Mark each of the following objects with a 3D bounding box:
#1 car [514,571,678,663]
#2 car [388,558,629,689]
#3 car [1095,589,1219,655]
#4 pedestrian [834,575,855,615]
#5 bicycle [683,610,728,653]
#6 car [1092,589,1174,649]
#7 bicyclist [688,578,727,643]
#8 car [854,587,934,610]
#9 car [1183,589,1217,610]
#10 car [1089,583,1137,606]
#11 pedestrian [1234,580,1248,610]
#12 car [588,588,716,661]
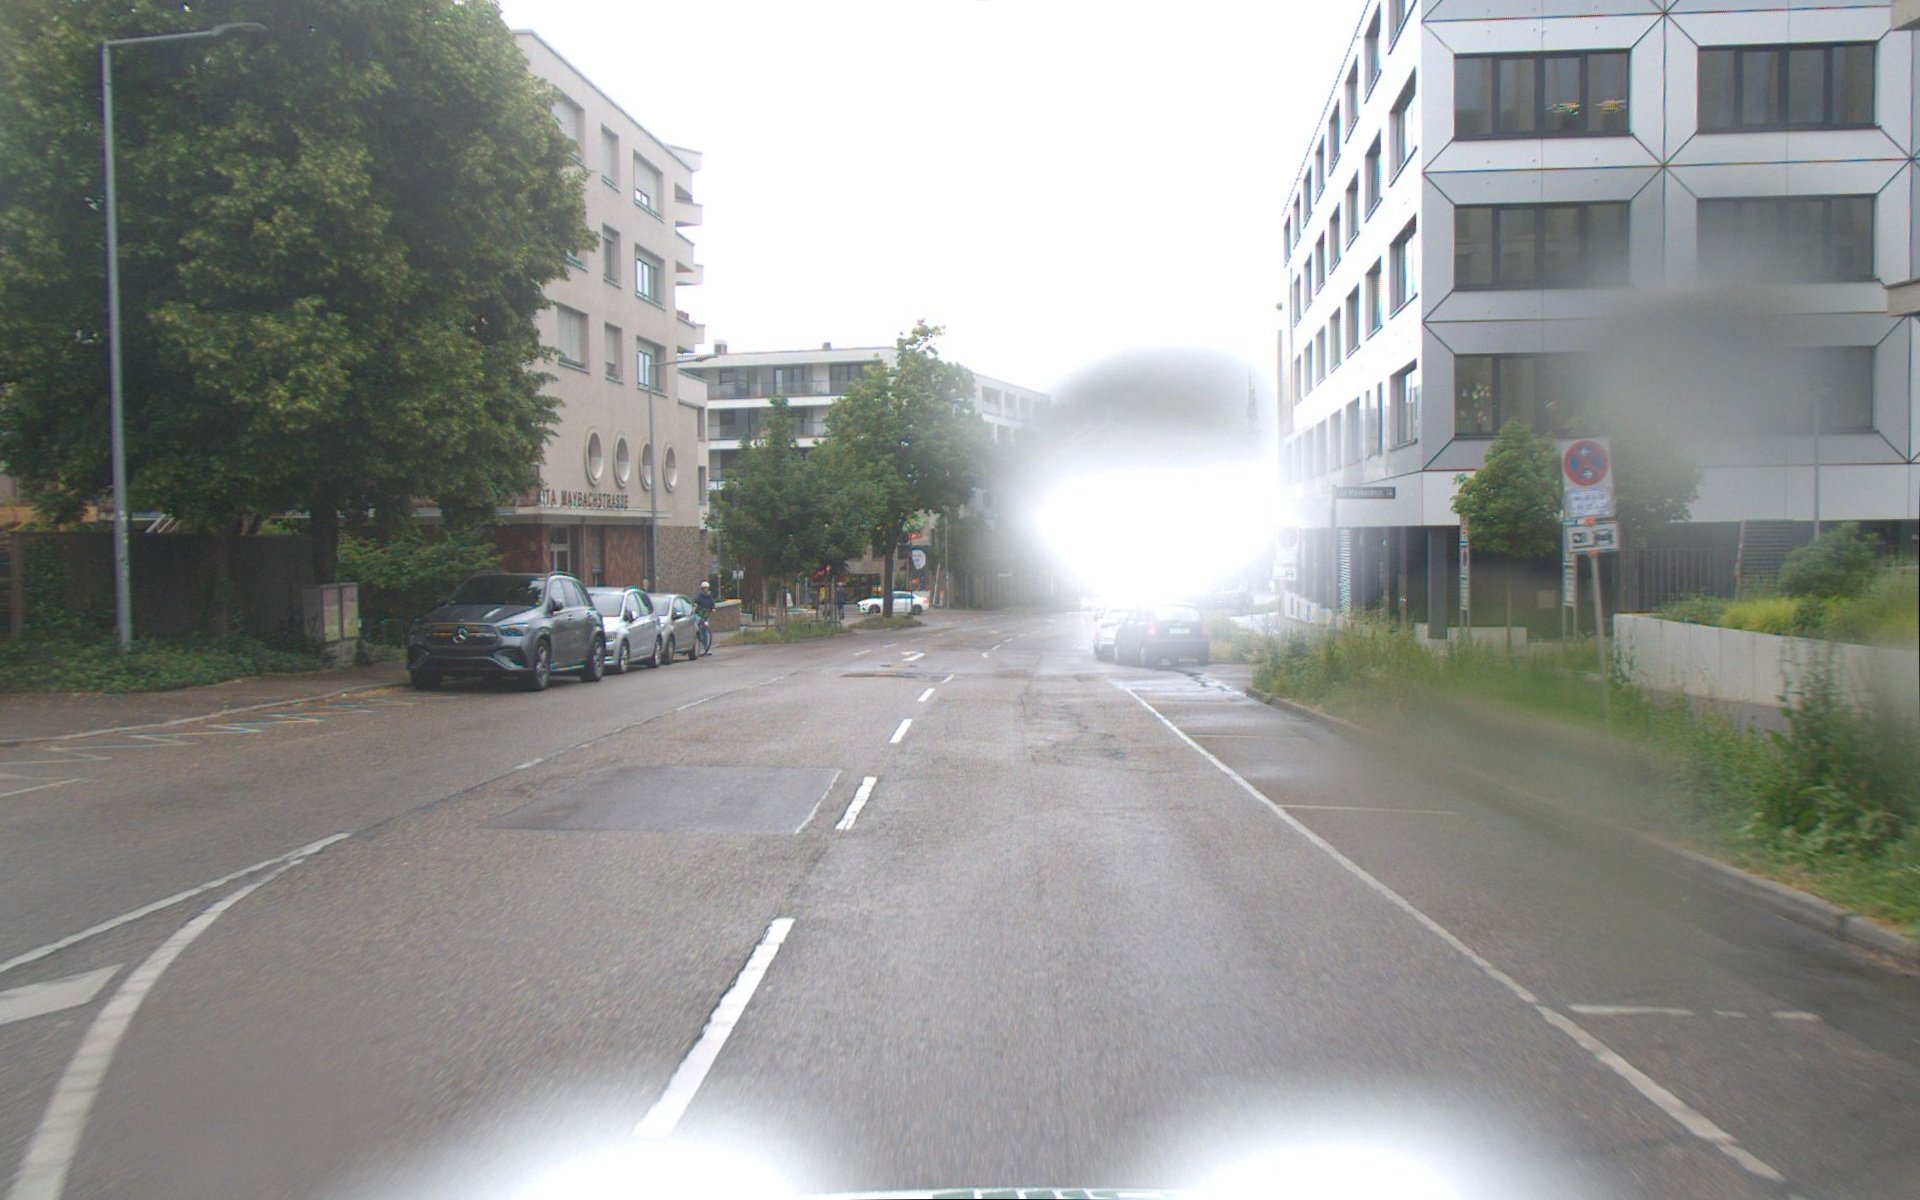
[{"bbox_3d":[-6.925,0.311,31.959,1.948,1.621,4.491,1,0,3],"label":"car"},{"bbox_3d":[-6.924,0.328,26.062,1.952,1.818,5.413,1,0,4],"label":"car"},{"bbox_3d":[4.664,0.489,39.737,2.006,1.483,4.048,1,0,-8],"label":"car"},{"bbox_3d":[-5.979,-0.240,85.678,1.034,2.049,1.099,1,0,-4],"label":"pedestrian"},{"bbox_3d":[-6.148,0.753,40.084,0.785,0.996,2.254,1,0,-2],"label":"bicycle"},{"bbox_3d":[4.632,0.474,44.745,1.997,1.490,4.505,1,0,3],"label":"car"},{"bbox_3d":[-6.136,0.257,40.250,0.785,1.549,1.201,1,0,-2],"label":"bicyclist"},{"bbox_3d":[-4.109,-0.100,103.012,4.614,1.315,1.990,1,0,-18],"label":"car"},{"bbox_3d":[17.309,-0.022,119.205,1.769,1.510,4.498,1,0,16],"label":"car"},{"bbox_3d":[11.570,-0.415,124.836,2.017,1.690,4.816,0,0,26],"label":"car"},{"bbox_3d":[17.267,-0.330,101.494,0.805,1.827,1.209,0,0,11],"label":"pedestrian"},{"bbox_3d":[-6.710,0.507,36.426,1.840,1.488,3.849,1,0,4],"label":"car"}]
